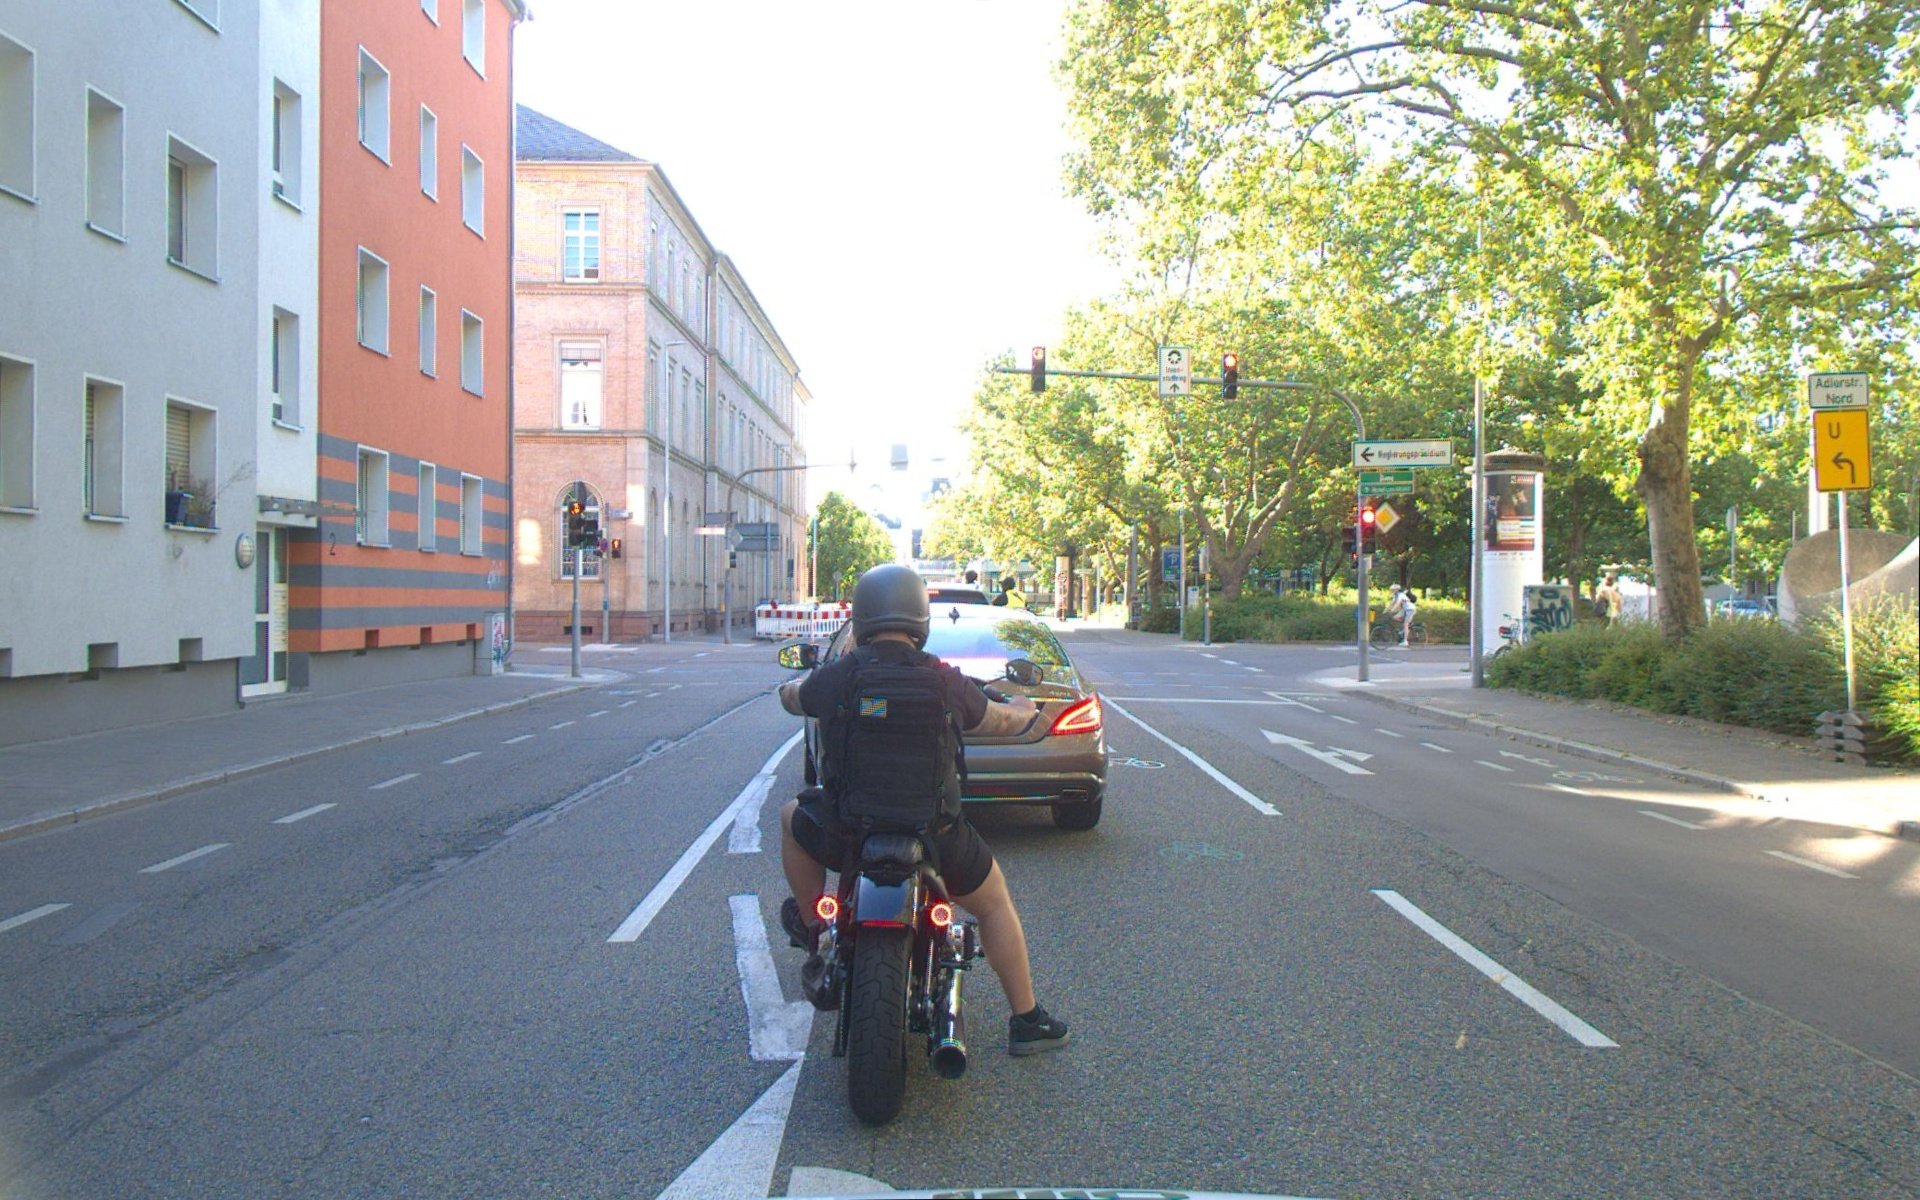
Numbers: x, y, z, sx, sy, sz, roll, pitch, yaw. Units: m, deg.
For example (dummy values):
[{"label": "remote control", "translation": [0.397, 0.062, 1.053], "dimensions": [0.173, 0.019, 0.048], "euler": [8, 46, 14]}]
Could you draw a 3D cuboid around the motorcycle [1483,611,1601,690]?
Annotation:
[{"label": "motorcycle", "translation": [9.772, 0.840, 27.815], "dimensions": [1.743, 1.265, 0.723], "euler": [1, 0, 4]}]

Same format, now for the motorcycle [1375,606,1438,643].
[{"label": "motorcycle", "translation": [12.697, 0.699, 47.037], "dimensions": [1.683, 1.019, 0.416], "euler": [0, 0, 3]}]

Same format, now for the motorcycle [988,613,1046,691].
[{"label": "motorcycle", "translation": [0.878, 0.797, 26.066], "dimensions": [0.781, 1.151, 2.236], "euler": [1, 0, -1]}]

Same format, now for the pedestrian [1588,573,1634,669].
[{"label": "pedestrian", "translation": [12.815, 0.405, 32.583], "dimensions": [0.634, 1.859, 0.667], "euler": [0, 0, -1]}]

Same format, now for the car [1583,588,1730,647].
[{"label": "car", "translation": [21.988, 0.547, 52.285], "dimensions": [3.907, 1.803, 1.737], "euler": [0, 0, -3]}]

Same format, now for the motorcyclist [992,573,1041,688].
[{"label": "motorcyclist", "translation": [0.889, 0.479, 26.099], "dimensions": [0.702, 1.773, 0.751], "euler": [1, -1, -1]}]

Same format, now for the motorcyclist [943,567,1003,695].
[{"label": "motorcyclist", "translation": [0.179, 0.444, 24.041], "dimensions": [0.814, 1.820, 0.913], "euler": [1, -1, -1]}]

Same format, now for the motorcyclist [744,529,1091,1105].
[{"label": "motorcyclist", "translation": [-0.128, 0.627, 5.318], "dimensions": [0.970, 1.639, 1.120], "euler": [1, 0, -1]}]

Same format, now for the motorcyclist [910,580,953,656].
[{"label": "motorcyclist", "translation": [-0.651, 0.412, 38.468], "dimensions": [0.964, 1.753, 0.550], "euler": [1, -1, 0]}]

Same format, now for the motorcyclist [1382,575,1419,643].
[{"label": "motorcyclist", "translation": [12.515, 0.250, 47.021], "dimensions": [0.962, 1.909, 0.376], "euler": [0, -1, 3]}]

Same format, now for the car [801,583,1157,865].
[{"label": "car", "translation": [-0.090, 0.683, 11.118], "dimensions": [1.790, 1.512, 4.326], "euler": [1, 0, -7]}]

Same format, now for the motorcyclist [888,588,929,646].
[{"label": "motorcyclist", "translation": [-1.408, 0.470, 45.533], "dimensions": [0.936, 1.564, 0.635], "euler": [1, -1, -44]}]

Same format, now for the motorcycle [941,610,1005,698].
[{"label": "motorcycle", "translation": [0.165, 0.750, 23.654], "dimensions": [0.845, 1.189, 1.929], "euler": [1, 0, -1]}]

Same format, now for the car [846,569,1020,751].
[{"label": "car", "translation": [-0.278, 0.573, 17.584], "dimensions": [1.618, 1.681, 3.999], "euler": [1, 0, -1]}]

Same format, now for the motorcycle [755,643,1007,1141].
[{"label": "motorcycle", "translation": [-0.224, 0.801, 5.408], "dimensions": [0.646, 1.261, 2.057], "euler": [1, 0, -1]}]
